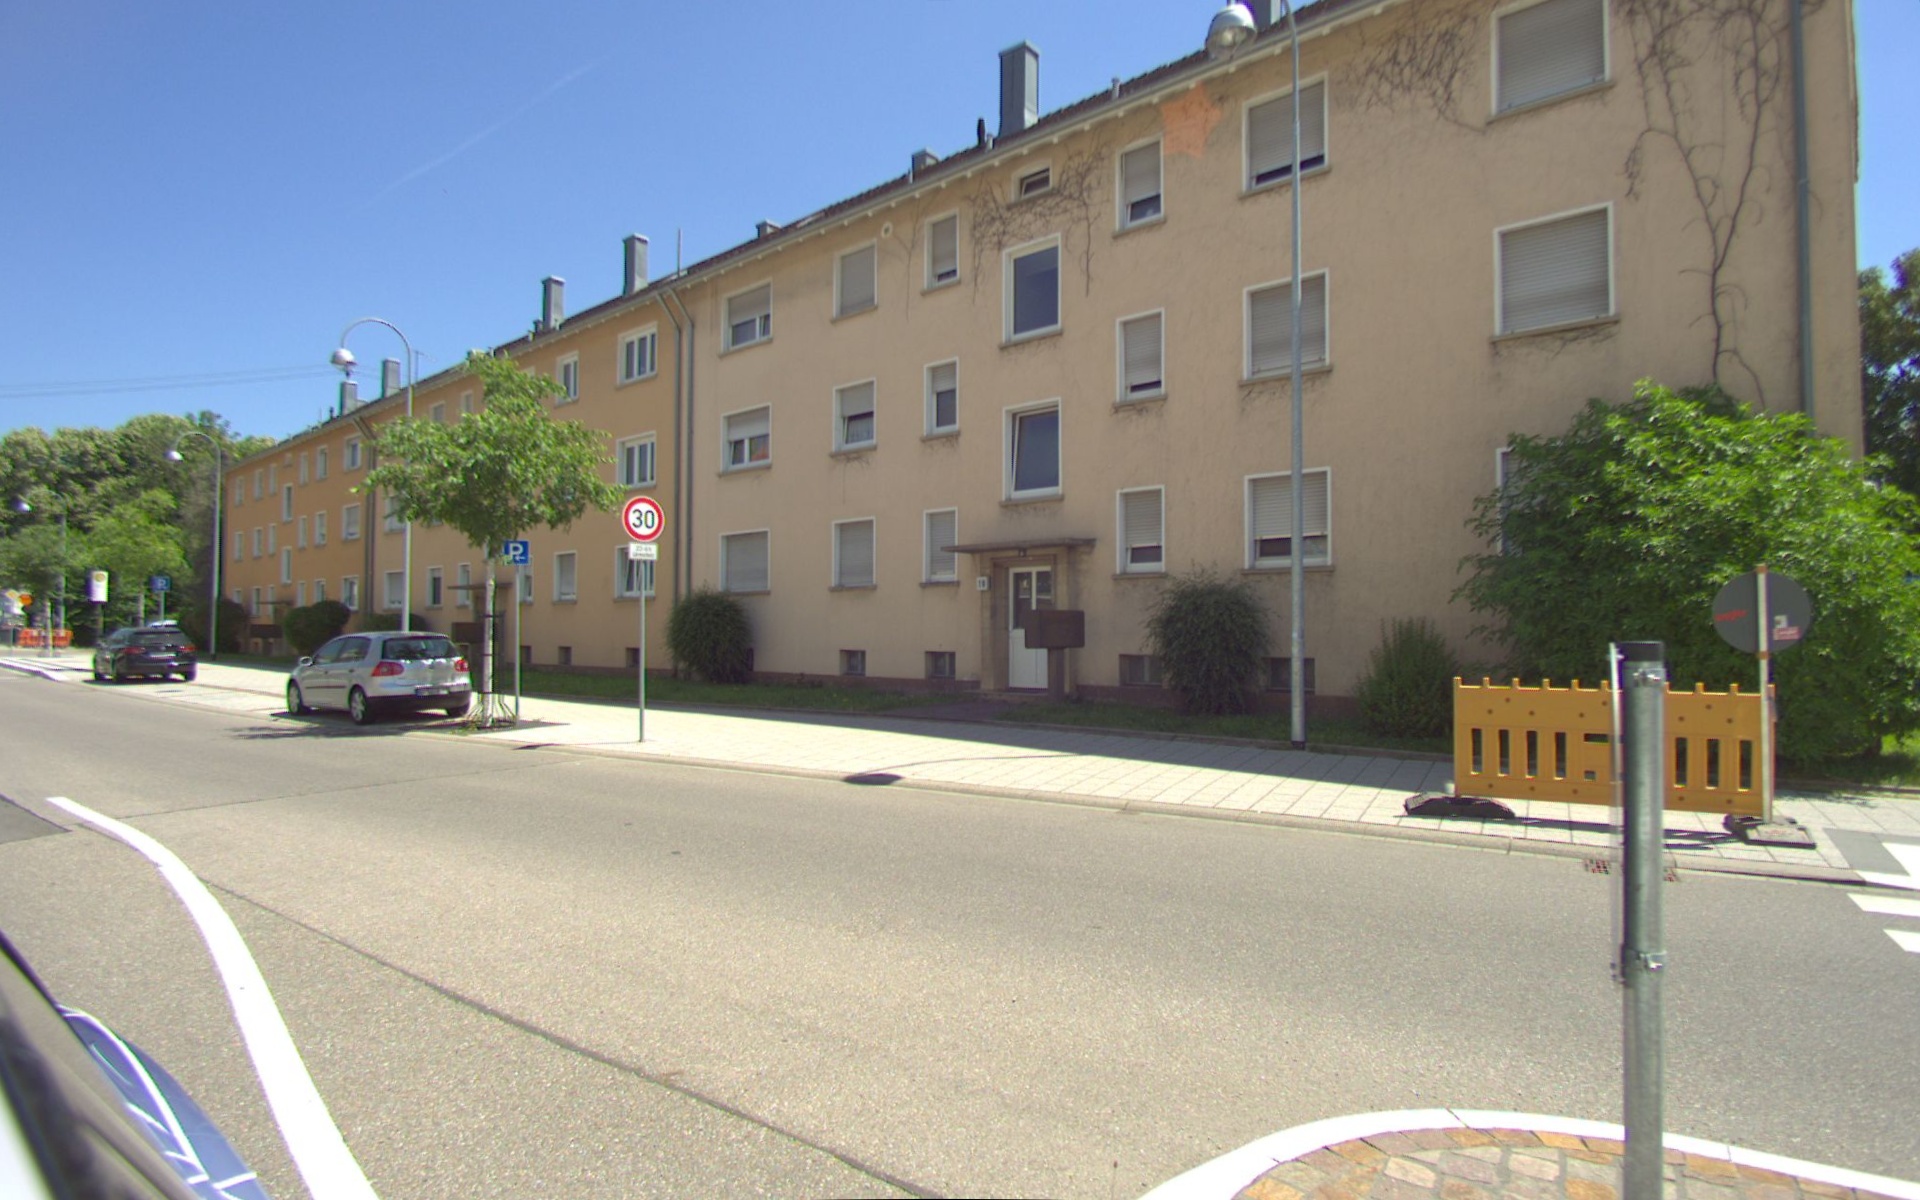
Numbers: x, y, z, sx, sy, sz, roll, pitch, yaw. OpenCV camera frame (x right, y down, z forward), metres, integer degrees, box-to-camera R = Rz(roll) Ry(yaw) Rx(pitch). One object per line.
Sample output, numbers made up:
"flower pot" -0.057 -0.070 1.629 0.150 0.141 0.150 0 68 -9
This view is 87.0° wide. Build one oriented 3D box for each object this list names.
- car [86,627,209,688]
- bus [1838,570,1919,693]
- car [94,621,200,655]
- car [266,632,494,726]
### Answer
"car" -22.650 1.554 28.148 4.559 1.518 1.838 -2 -1 40
"bus" 25.625 0.681 23.528 2.793 3.134 8.913 -2 -2 3
"car" -46.851 2.154 58.388 1.812 1.888 4.391 -1 -2 31
"car" -10.107 1.278 17.569 4.081 1.431 1.975 -2 -2 37
